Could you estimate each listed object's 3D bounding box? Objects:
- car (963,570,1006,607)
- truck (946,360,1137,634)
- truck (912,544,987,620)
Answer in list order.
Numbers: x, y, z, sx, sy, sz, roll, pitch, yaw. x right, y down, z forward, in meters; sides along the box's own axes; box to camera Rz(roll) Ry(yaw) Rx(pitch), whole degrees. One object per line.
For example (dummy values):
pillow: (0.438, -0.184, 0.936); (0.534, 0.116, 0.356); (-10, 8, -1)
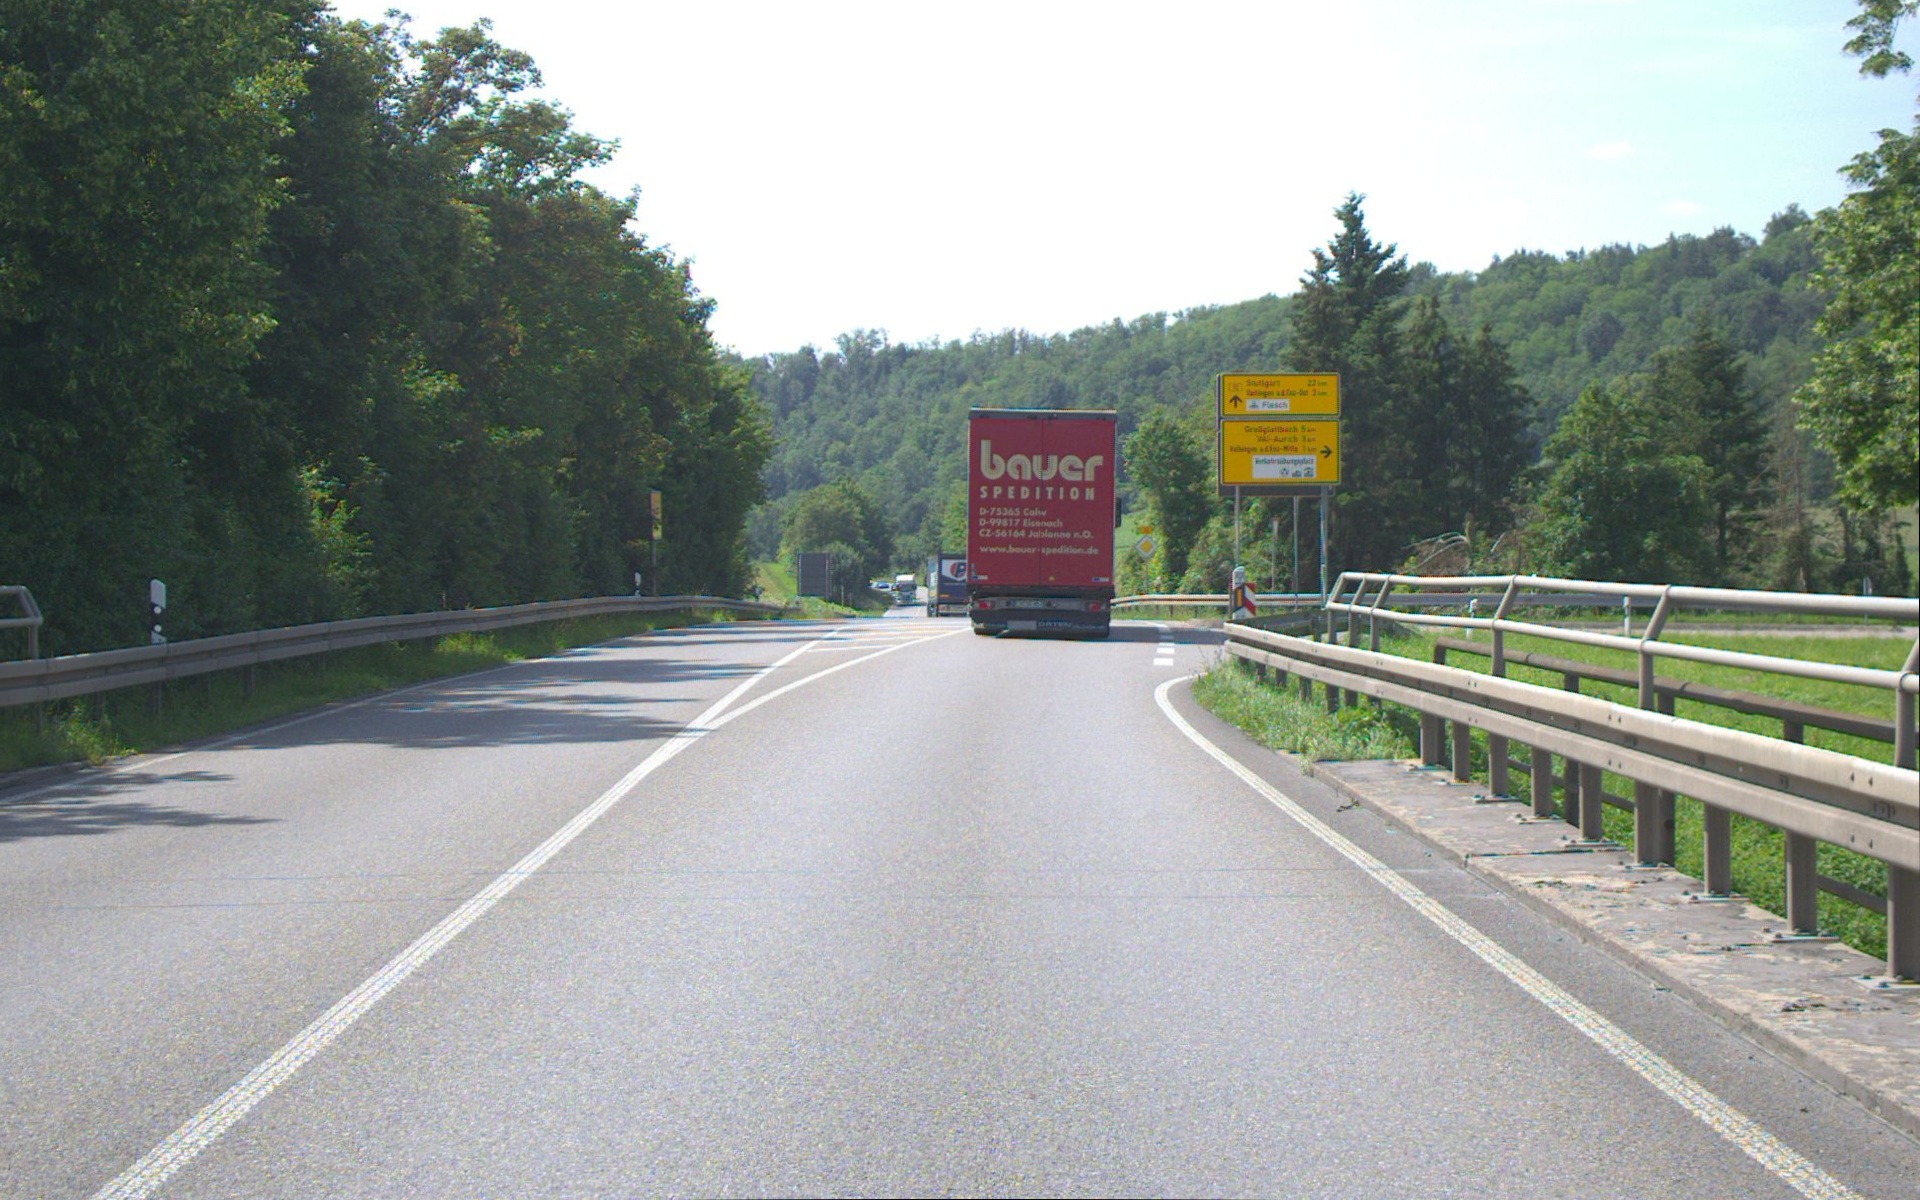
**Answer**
car: (1.263, -0.581, 181.241); (1.993, 1.804, 4.000); (3, -1, -2)
truck: (1.578, -1.835, 65.358); (3.172, 4.609, 13.543); (1, 1, 2)
truck: (-0.715, -1.046, 212.156); (3.904, 4.355, 13.293); (3, -1, -3)
